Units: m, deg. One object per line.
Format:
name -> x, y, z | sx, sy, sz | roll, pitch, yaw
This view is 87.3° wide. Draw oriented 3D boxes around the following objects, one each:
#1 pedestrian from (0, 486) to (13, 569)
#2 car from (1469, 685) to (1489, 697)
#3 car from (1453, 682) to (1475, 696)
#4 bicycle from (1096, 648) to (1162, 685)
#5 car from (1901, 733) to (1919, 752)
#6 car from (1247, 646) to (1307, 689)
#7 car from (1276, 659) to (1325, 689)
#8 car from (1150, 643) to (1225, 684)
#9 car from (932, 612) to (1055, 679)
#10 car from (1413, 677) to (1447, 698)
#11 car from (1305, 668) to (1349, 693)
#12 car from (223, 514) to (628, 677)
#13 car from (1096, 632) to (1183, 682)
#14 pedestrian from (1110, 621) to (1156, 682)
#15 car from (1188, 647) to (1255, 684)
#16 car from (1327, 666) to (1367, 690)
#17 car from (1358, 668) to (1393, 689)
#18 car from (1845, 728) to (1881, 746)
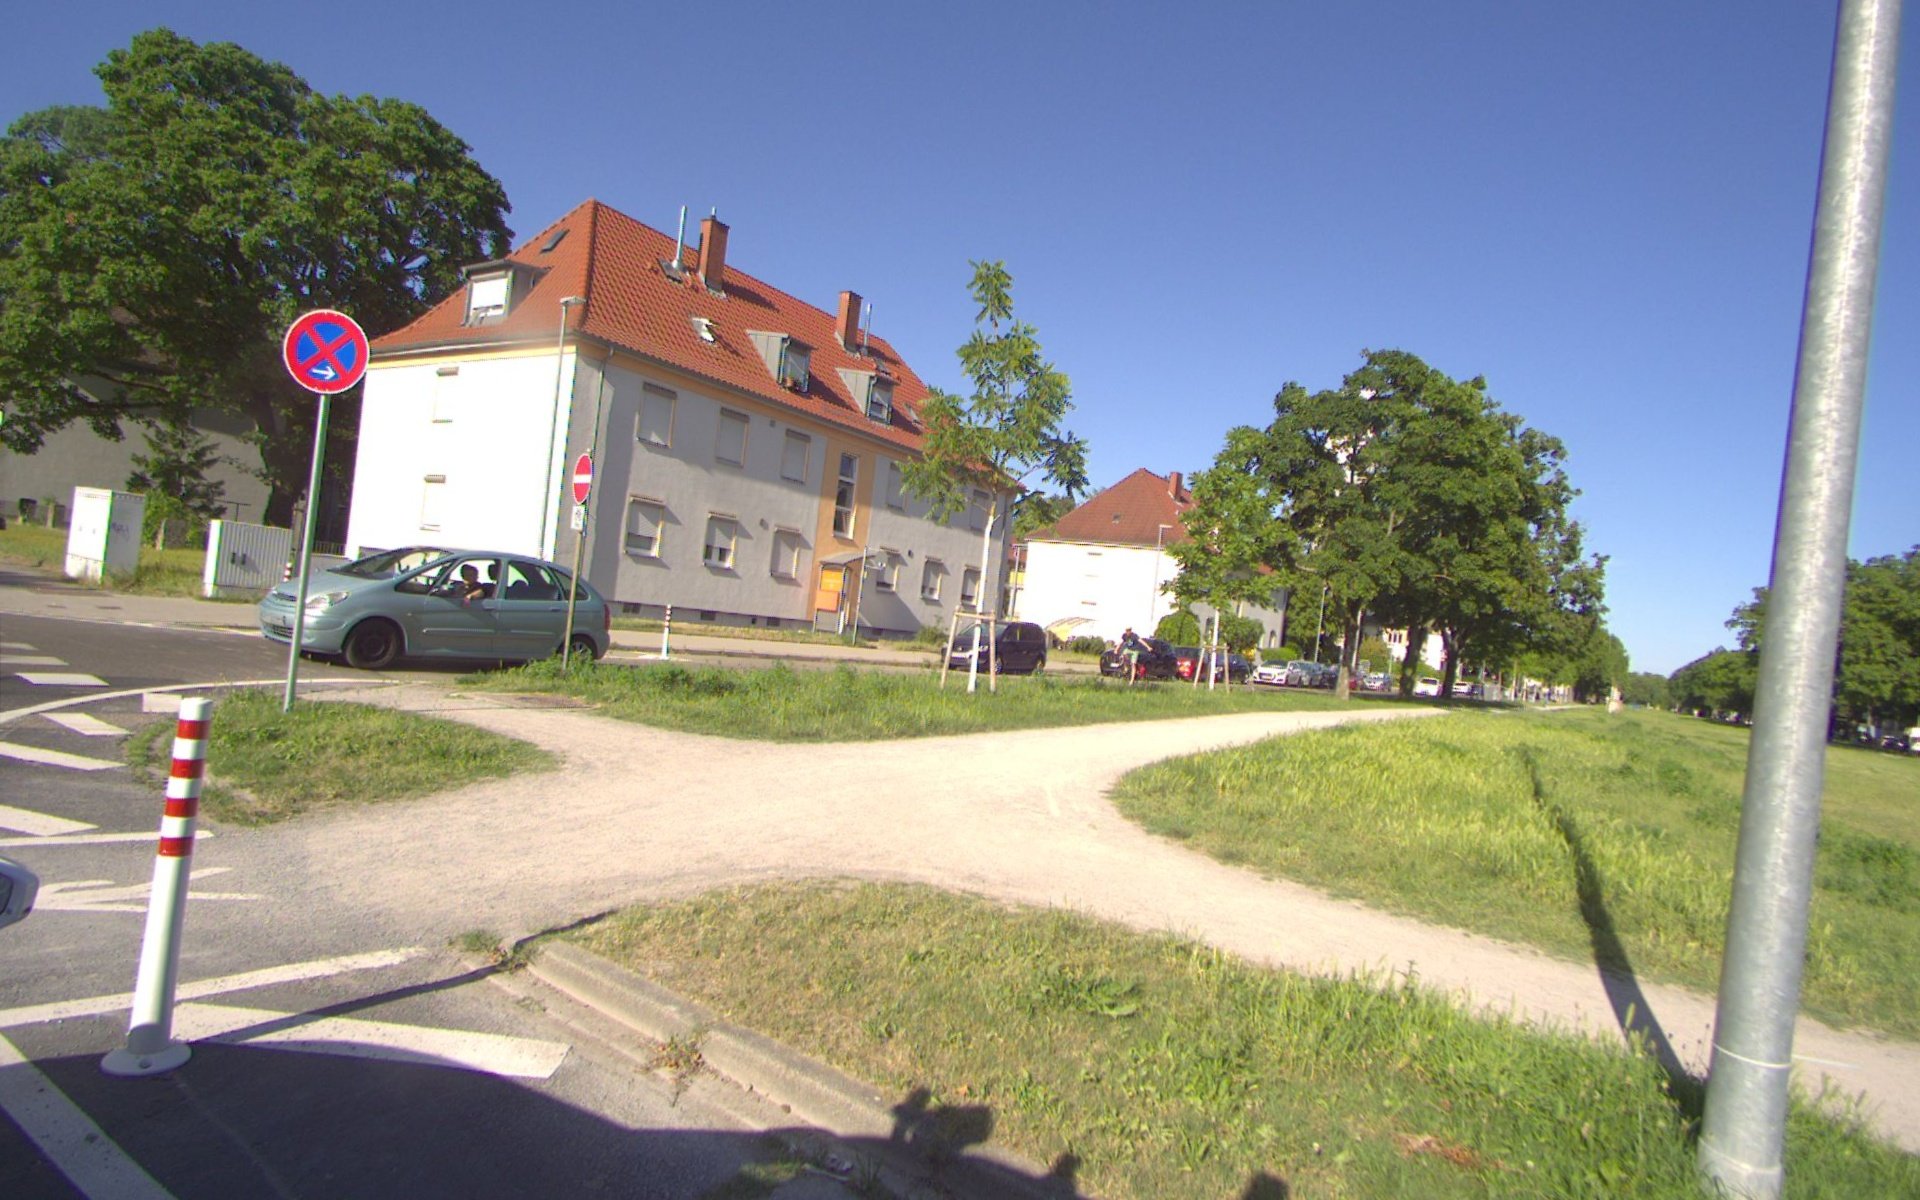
pedestrian -> -19.507, -1.503, 20.001 | 0.822, 1.631, 0.765 | 7, 0, 39
car -> 66.987, 11.754, 129.811 | 1.694, 1.358, 3.799 | 7, -1, 34
car -> 58.550, 10.328, 116.754 | 1.694, 1.358, 3.799 | 7, -1, 34
bicycle -> 5.209, 2.055, 30.777 | 1.036, 0.949, 2.760 | 7, -1, 29
car -> 104.695, 15.634, 110.072 | 1.837, 1.867, 3.983 | 7, -1, 35
car -> 17.710, 3.784, 56.052 | 1.842, 2.038, 4.245 | 7, -1, 34
car -> 20.484, 4.483, 60.509 | 1.694, 1.516, 3.799 | 7, -1, 34
car -> 10.108, 2.835, 44.504 | 1.694, 1.459, 4.129 | 7, -1, 34
car -> 1.097, 1.424, 30.722 | 1.694, 1.684, 4.053 | 7, -1, 34
car -> 37.216, 6.942, 79.600 | 1.694, 1.358, 3.799 | 7, -1, 34
car -> 23.780, 5.218, 65.067 | 1.694, 1.358, 3.799 | 7, -1, 34
car -> -6.811, 0.037, 13.264 | 1.859, 1.628, 4.235 | 7, -1, 35
car -> 7.121, 2.283, 39.663 | 1.694, 1.602, 4.129 | 7, -1, 34
pedestrian -> 5.315, 1.566, 30.842 | 1.036, 1.730, 0.692 | 7, 0, 30
car -> 12.612, 3.164, 48.323 | 1.694, 1.459, 4.129 | 7, -1, 34
car -> 26.929, 5.457, 69.911 | 1.694, 1.358, 3.799 | 7, -1, 34
car -> 32.648, 6.154, 78.973 | 1.694, 1.358, 3.799 | 7, -1, 34
car -> 94.475, 14.322, 105.291 | 2.049, 1.483, 4.714 | 7, -1, 35
